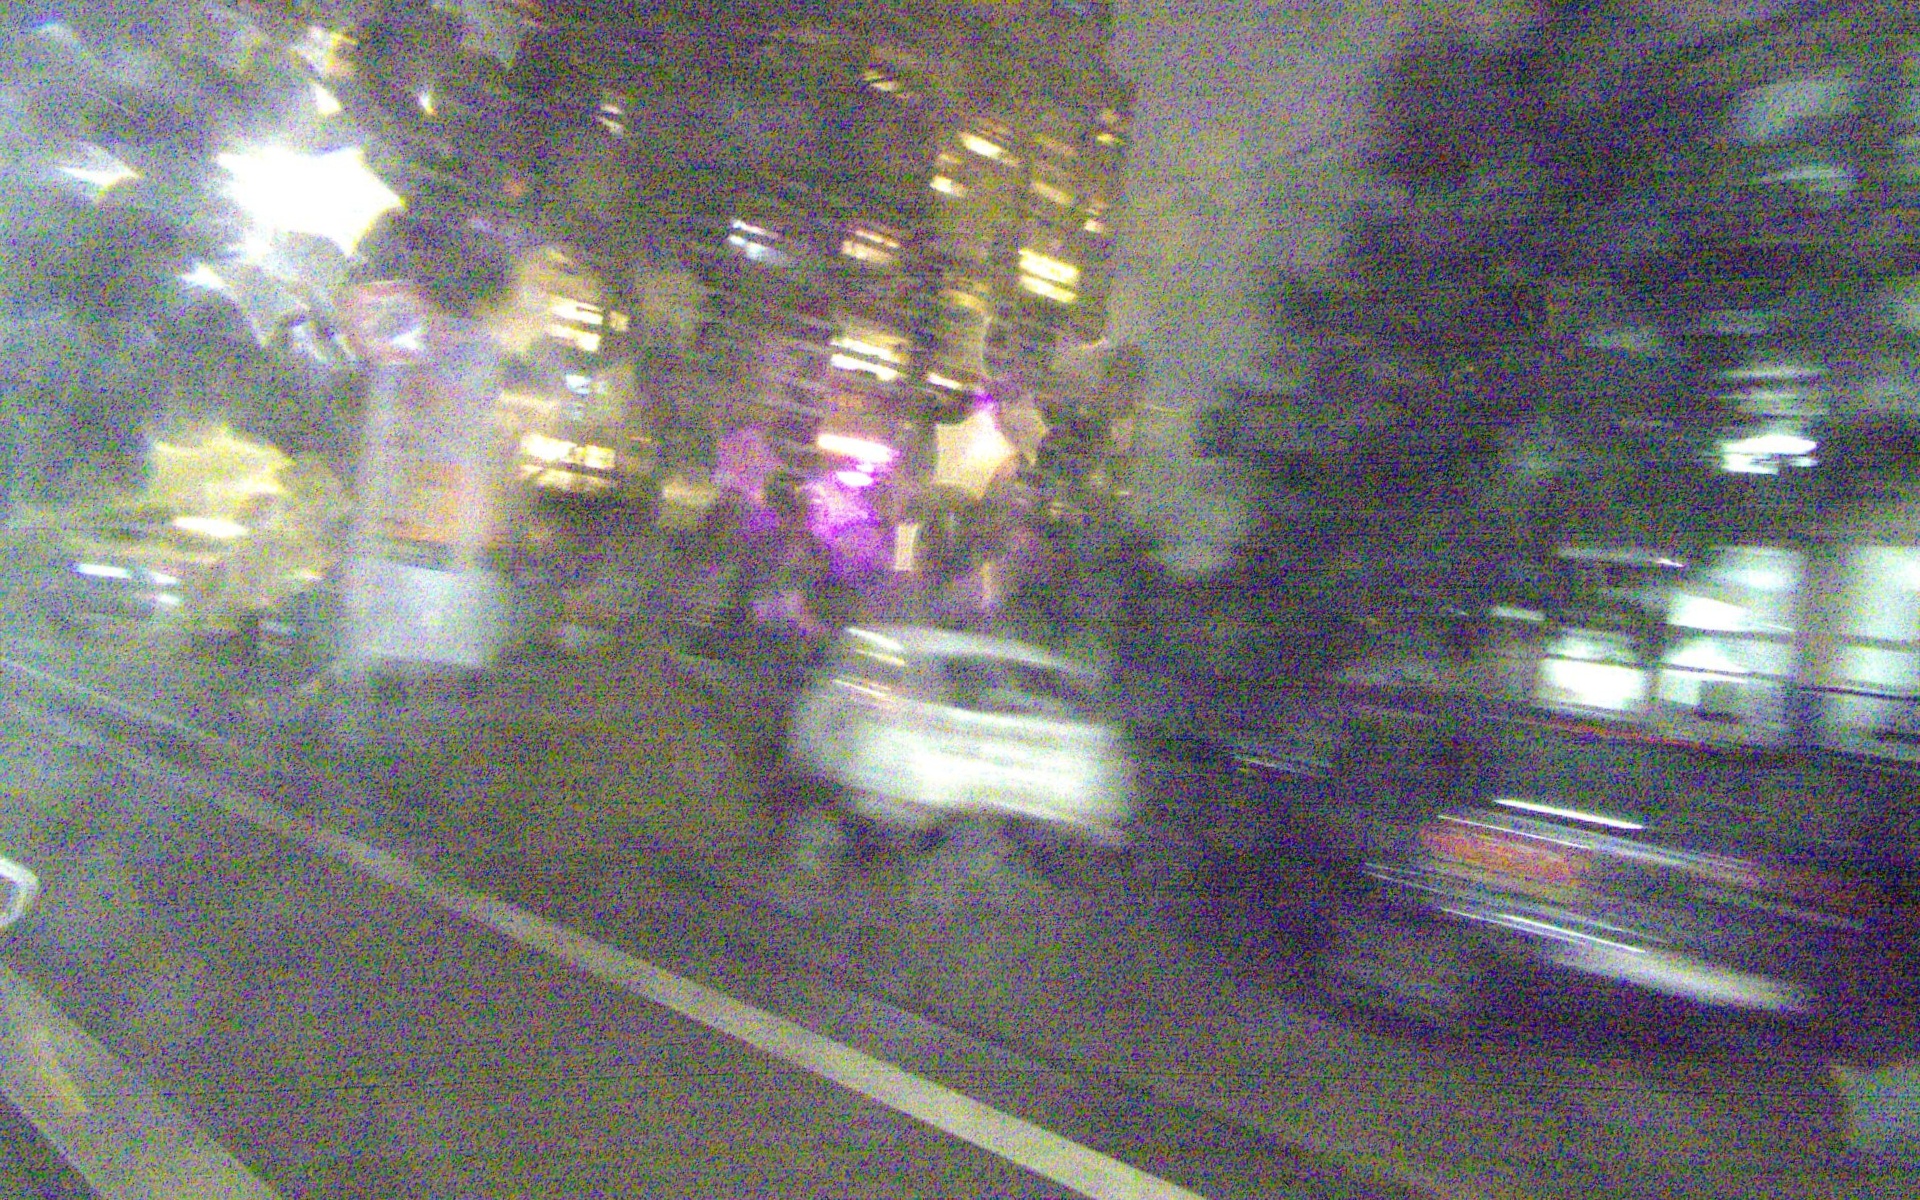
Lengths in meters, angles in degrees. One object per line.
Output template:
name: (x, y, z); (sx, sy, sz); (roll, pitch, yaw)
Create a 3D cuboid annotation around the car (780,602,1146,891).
car: (-0.275, 0.883, 7.671); (1.685, 1.529, 3.897); (7, -2, -15)

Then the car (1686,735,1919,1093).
car: (5.273, 1.527, 3.590); (1.755, 1.433, 4.251); (7, -2, -9)

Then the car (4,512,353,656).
car: (-10.361, -0.150, 13.842); (1.652, 1.485, 4.338); (7, -1, -6)

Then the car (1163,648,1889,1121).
car: (2.533, 1.188, 5.588); (1.624, 1.490, 3.569); (6, 0, -6)
